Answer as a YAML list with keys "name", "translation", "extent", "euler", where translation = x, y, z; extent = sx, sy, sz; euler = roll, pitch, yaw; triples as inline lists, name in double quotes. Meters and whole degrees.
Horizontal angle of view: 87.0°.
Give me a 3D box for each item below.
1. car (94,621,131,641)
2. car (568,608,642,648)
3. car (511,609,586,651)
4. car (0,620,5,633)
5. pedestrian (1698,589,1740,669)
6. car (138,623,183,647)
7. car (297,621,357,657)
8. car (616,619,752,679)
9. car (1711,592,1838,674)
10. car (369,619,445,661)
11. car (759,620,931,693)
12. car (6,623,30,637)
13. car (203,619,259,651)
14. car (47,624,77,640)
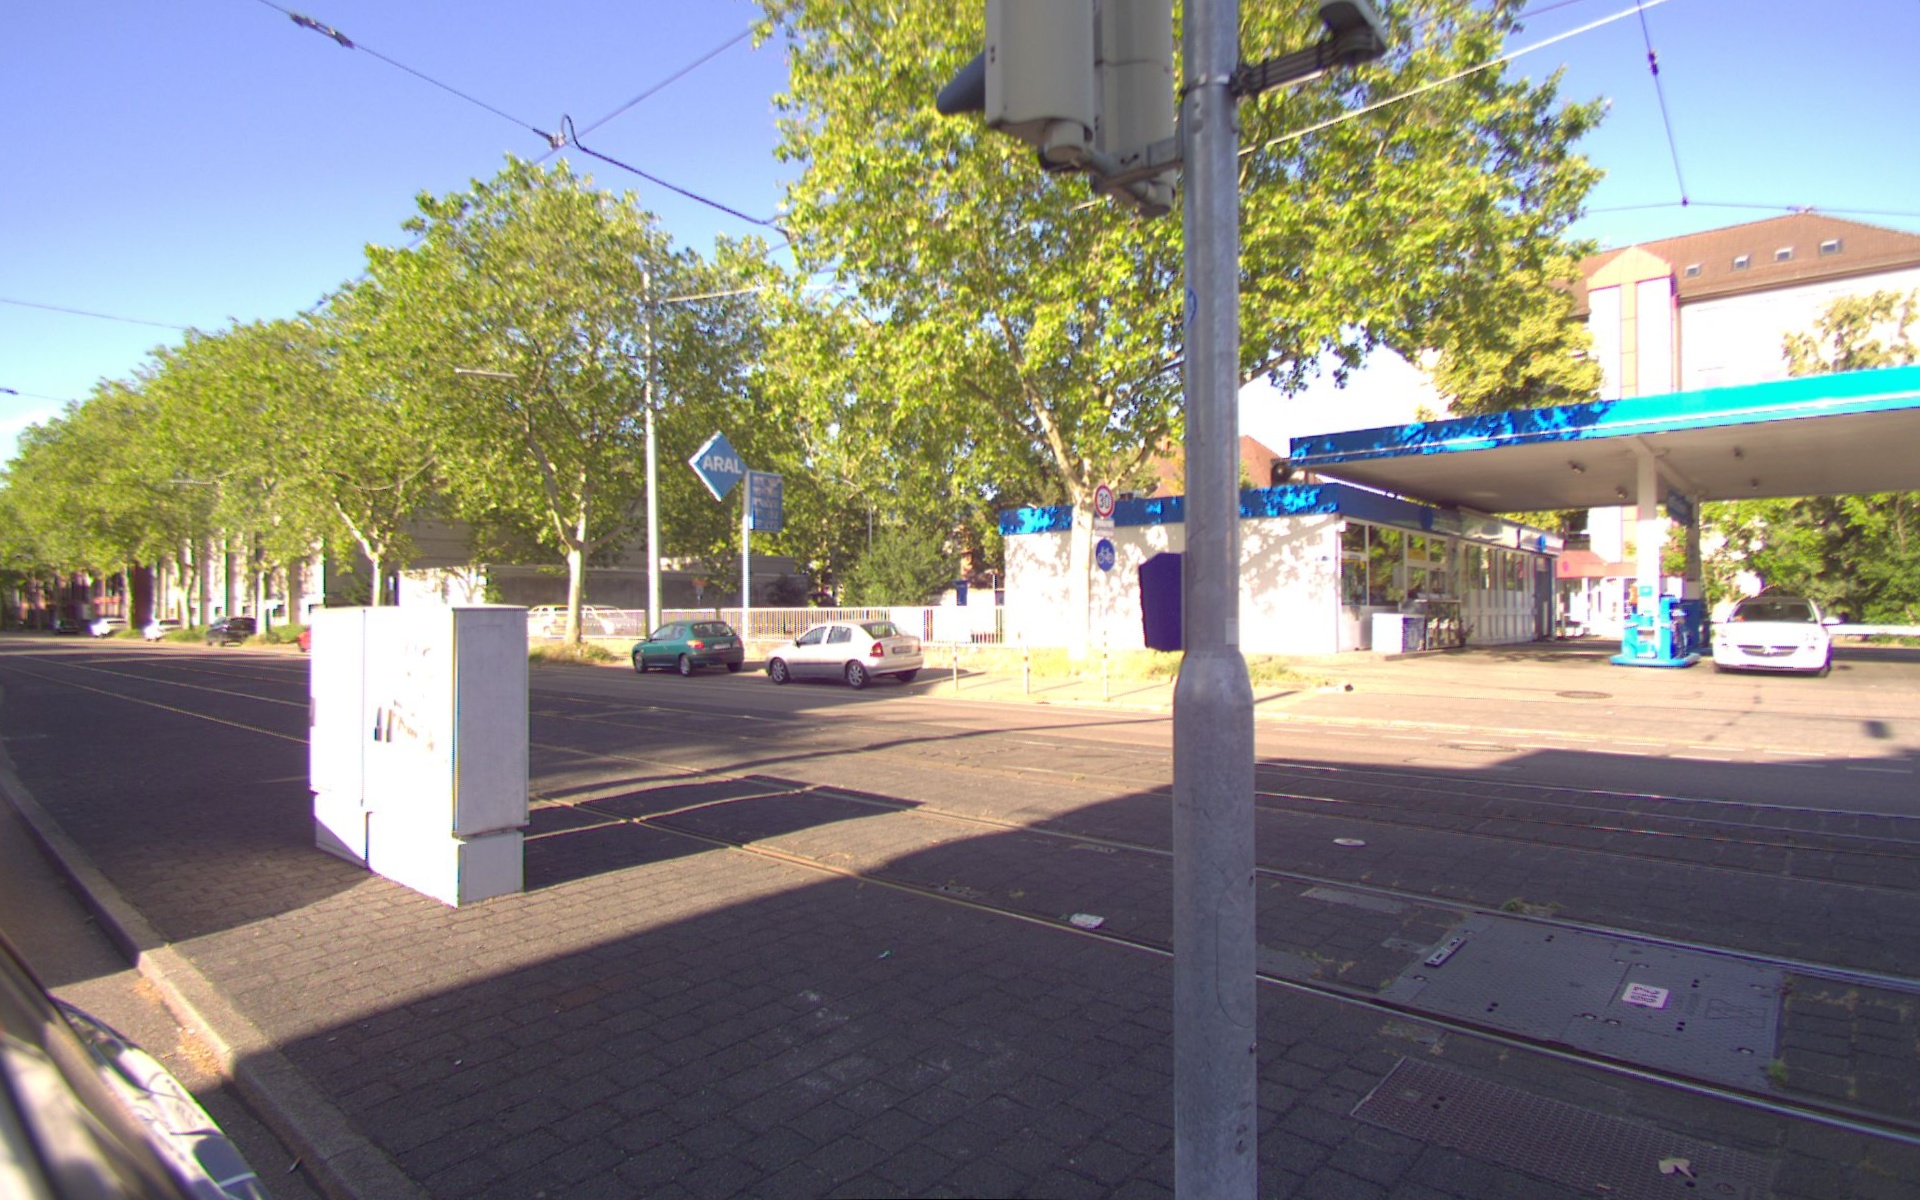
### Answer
- name: "car"
  translation: [-66.677, 2.442, 79.597]
  extent: [3.748, 1.459, 1.674]
  euler: [-1, 1, 41]
- name: "car"
  translation: [-15.262, 1.193, 43.441]
  extent: [3.303, 1.604, 1.579]
  euler: [-1, 0, 41]
- name: "car"
  translation: [-17.081, 1.228, 41.964]
  extent: [3.303, 1.628, 1.579]
  euler: [-1, 0, 41]
- name: "car"
  translation: [-133.931, 3.671, 140.460]
  extent: [3.748, 1.798, 1.674]
  euler: [-1, 1, 41]
- name: "pedestrian"
  translation: [16.536, 0.634, 22.045]
  extent: [0.493, 1.714, 0.649]
  euler: [1, -2, -45]
- name: "car"
  translation: [-53.859, 2.338, 68.170]
  extent: [3.748, 1.459, 1.674]
  euler: [-1, 1, 41]
- name: "car"
  translation: [-28.683, 1.753, 45.823]
  extent: [2.621, 1.519, 1.579]
  euler: [-1, 1, 41]
- name: "car"
  translation: [-7.397, 1.264, 26.965]
  extent: [3.748, 1.413, 1.674]
  euler: [-1, 1, 41]
- name: "car"
  translation: [15.890, 0.609, 19.691]
  extent: [1.757, 1.453, 3.521]
  euler: [-1, -1, 41]
- name: "car"
  translation: [-21.873, 1.555, 39.996]
  extent: [3.303, 1.519, 1.579]
  euler: [-1, 1, 41]
- name: "car"
  translation: [-2.632, 1.203, 22.637]
  extent: [3.812, 1.413, 1.674]
  euler: [-1, 1, 41]
- name: "car"
  translation: [-112.139, 3.557, 120.494]
  extent: [3.748, 1.459, 1.674]
  euler: [-1, 1, 41]
- name: "car"
  translation: [-40.673, 1.936, 56.445]
  extent: [3.748, 1.670, 1.674]
  euler: [-1, 1, 41]
- name: "car"
  translation: [-85.238, 3.025, 96.034]
  extent: [3.748, 1.459, 1.674]
  euler: [-1, 1, 41]
